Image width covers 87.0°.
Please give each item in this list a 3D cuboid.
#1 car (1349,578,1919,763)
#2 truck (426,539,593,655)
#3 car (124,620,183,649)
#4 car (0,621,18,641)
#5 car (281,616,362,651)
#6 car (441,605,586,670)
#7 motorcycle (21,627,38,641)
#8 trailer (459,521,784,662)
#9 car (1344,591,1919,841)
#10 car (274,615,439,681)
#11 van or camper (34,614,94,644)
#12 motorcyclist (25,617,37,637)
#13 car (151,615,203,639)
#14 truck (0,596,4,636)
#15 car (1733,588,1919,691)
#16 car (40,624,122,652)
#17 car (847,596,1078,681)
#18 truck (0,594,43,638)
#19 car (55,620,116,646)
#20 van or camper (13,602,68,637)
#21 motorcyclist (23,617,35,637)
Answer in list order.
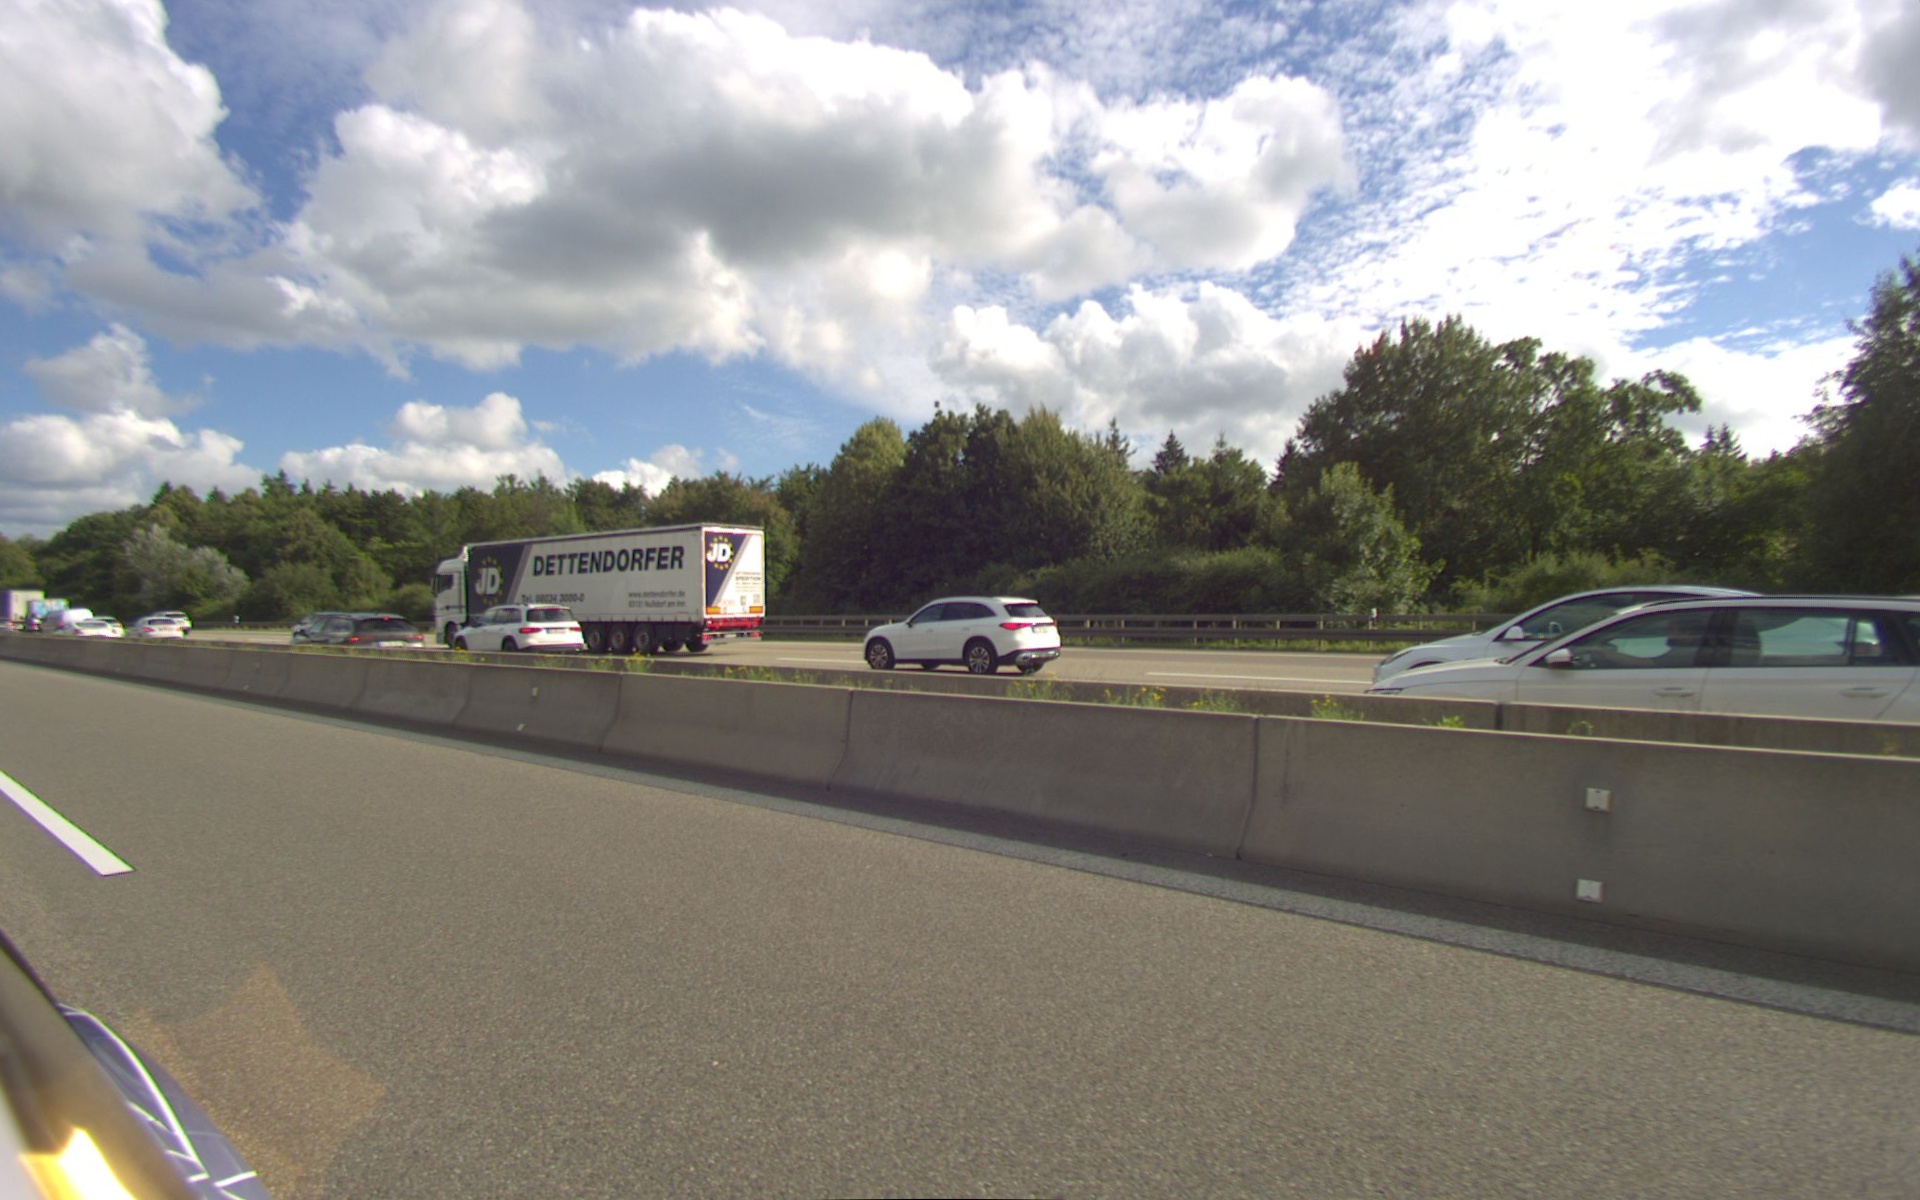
[{"bbox_3d":[6.906,0.615,10.543,4.991,1.537,1.838,-1,0,40],"label":"car"},{"bbox_3d":[-17.505,-0.077,39.220,6.213,4.138,3.288,-1,-1,37],"label":"truck"},{"bbox_3d":[-41.578,1.737,52.137,4.714,1.407,1.663,-1,0,43],"label":"car"},{"bbox_3d":[-76.319,2.471,80.030,4.782,1.482,2.149,-1,0,40],"label":"car"},{"bbox_3d":[-28.993,1.503,45.901,4.798,1.464,1.792,-1,-1,41],"label":"car"},{"bbox_3d":[-12.185,0.972,27.453,4.941,1.606,1.690,-1,0,42],"label":"car"},{"bbox_3d":[-70.834,2.607,76.998,2.171,1.048,0.604,-1,-1,38],"label":"motorcycle"},{"bbox_3d":[-12.276,-0.153,35.299,14.129,4.137,3.287,-1,-1,37],"label":"trailer"},{"bbox_3d":[5.463,0.687,7.143,4.847,1.453,1.752,-1,0,40],"label":"car"},{"bbox_3d":[-14.409,1.079,24.056,4.616,1.372,1.973,-1,0,40],"label":"car"},{"bbox_3d":[-60.958,1.933,68.827,5.447,1.952,1.976,-1,-1,36],"label":"van or camper"},{"bbox_3d":[-70.374,2.033,76.636,0.531,1.487,0.597,-1,0,38],"label":"motorcyclist"},{"bbox_3d":[-59.681,2.037,77.135,4.782,1.696,2.149,-1,0,40],"label":"car"},{"bbox_3d":[-100.988,1.693,103.791,6.040,4.125,2.798,-1,-1,31],"label":"truck"},{"bbox_3d":[13.897,0.540,14.589,4.282,1.437,1.608,-1,0,41],"label":"car"},{"bbox_3d":[-38.903,1.653,44.771,4.506,1.170,1.795,-1,-1,36],"label":"car"},{"bbox_3d":[-0.060,0.778,21.787,5.041,1.630,1.775,-1,0,41],"label":"car"},{"bbox_3d":[-95.261,1.634,100.302,13.798,4.125,2.798,-1,-1,32],"label":"truck"},{"bbox_3d":[-50.702,1.888,58.647,4.684,1.405,1.753,-1,0,38],"label":"car"},{"bbox_3d":[-78.722,1.689,86.616,6.496,2.914,2.351,-1,-2,38],"label":"van or camper"},{"bbox_3d":[-70.853,2.037,76.984,0.531,1.487,0.597,-1,0,38],"label":"motorcyclist"}]
